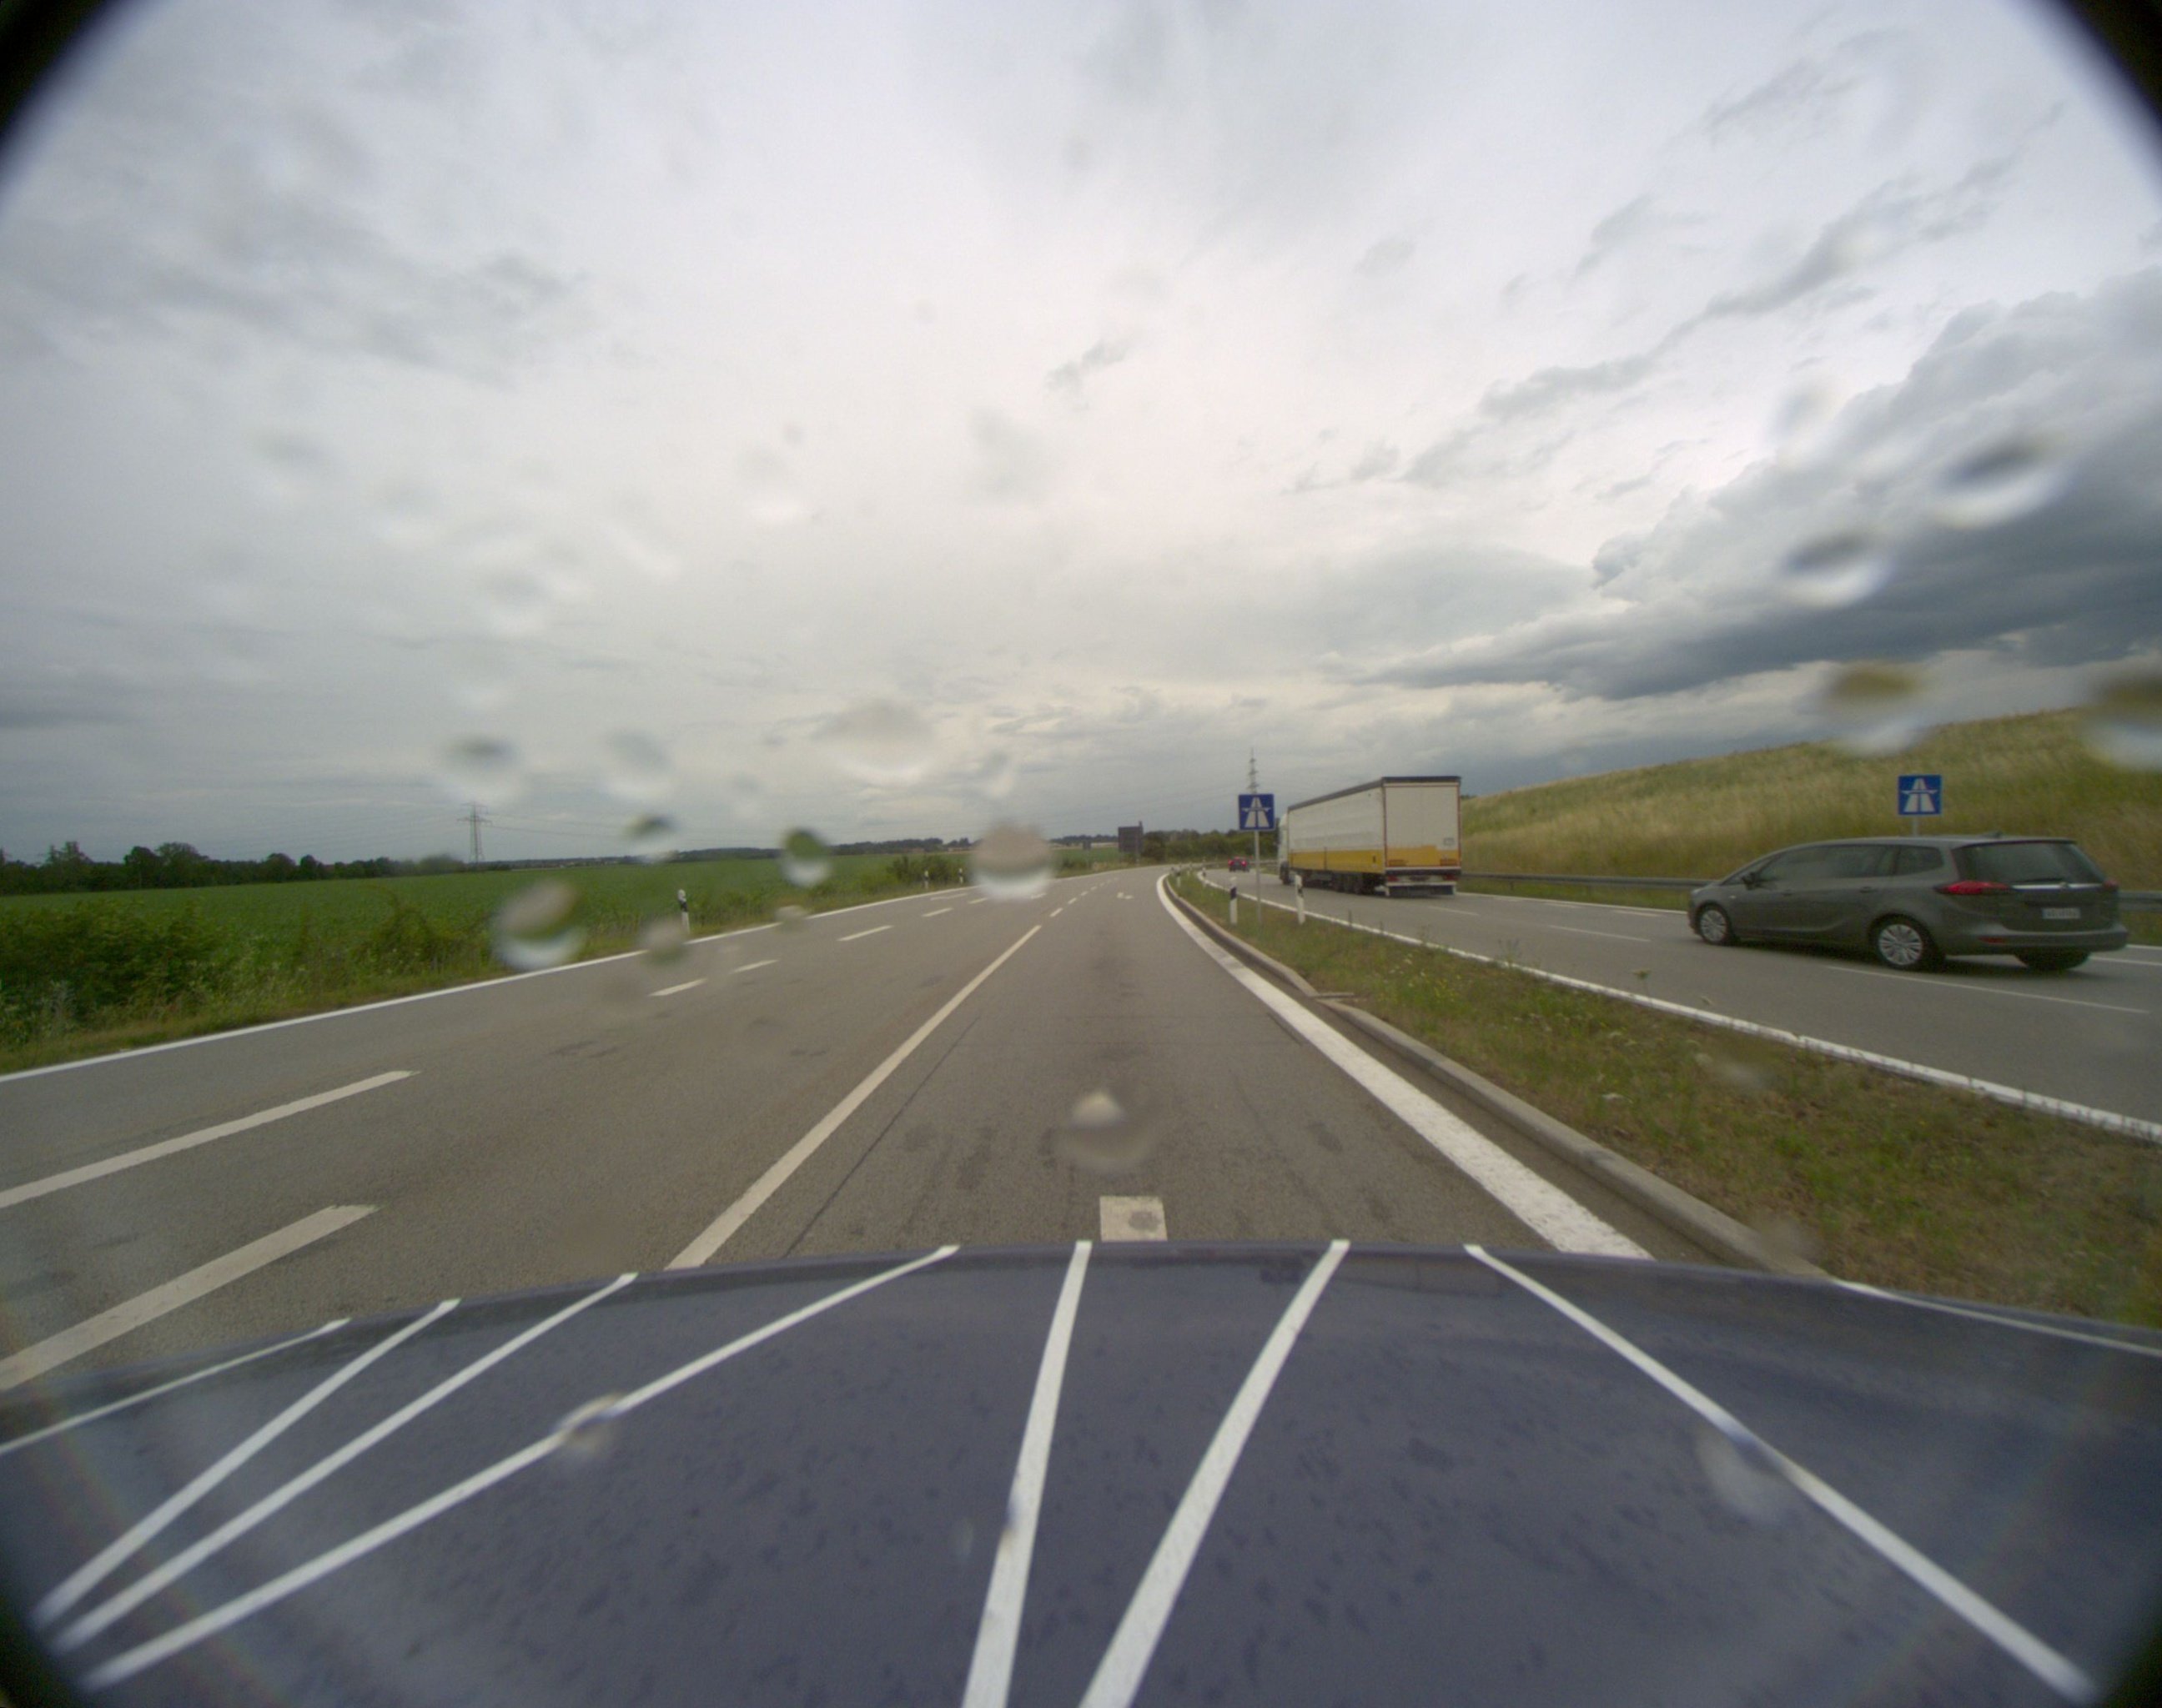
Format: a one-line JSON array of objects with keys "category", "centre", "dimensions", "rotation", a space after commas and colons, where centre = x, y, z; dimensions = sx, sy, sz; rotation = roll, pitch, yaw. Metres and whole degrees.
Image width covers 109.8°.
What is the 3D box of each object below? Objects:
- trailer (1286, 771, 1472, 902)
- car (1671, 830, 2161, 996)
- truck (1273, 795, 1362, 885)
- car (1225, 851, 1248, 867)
[{"category": "trailer", "centre": [11.566, -0.649, 31.664], "dimensions": [2.698, 4.186, 13.841], "rotation": [-2, 1, 2]}, {"category": "car", "centre": [10.694, 0.596, 10.265], "dimensions": [1.998, 1.684, 4.454], "rotation": [-2, 1, 1]}, {"category": "truck", "centre": [11.823, -0.689, 38.633], "dimensions": [2.656, 4.117, 6.403], "rotation": [-2, 1, 2]}, {"category": "car", "centre": [17.139, 0.530, 83.962], "dimensions": [1.998, 1.674, 4.115], "rotation": [-2, 1, 5]}]
